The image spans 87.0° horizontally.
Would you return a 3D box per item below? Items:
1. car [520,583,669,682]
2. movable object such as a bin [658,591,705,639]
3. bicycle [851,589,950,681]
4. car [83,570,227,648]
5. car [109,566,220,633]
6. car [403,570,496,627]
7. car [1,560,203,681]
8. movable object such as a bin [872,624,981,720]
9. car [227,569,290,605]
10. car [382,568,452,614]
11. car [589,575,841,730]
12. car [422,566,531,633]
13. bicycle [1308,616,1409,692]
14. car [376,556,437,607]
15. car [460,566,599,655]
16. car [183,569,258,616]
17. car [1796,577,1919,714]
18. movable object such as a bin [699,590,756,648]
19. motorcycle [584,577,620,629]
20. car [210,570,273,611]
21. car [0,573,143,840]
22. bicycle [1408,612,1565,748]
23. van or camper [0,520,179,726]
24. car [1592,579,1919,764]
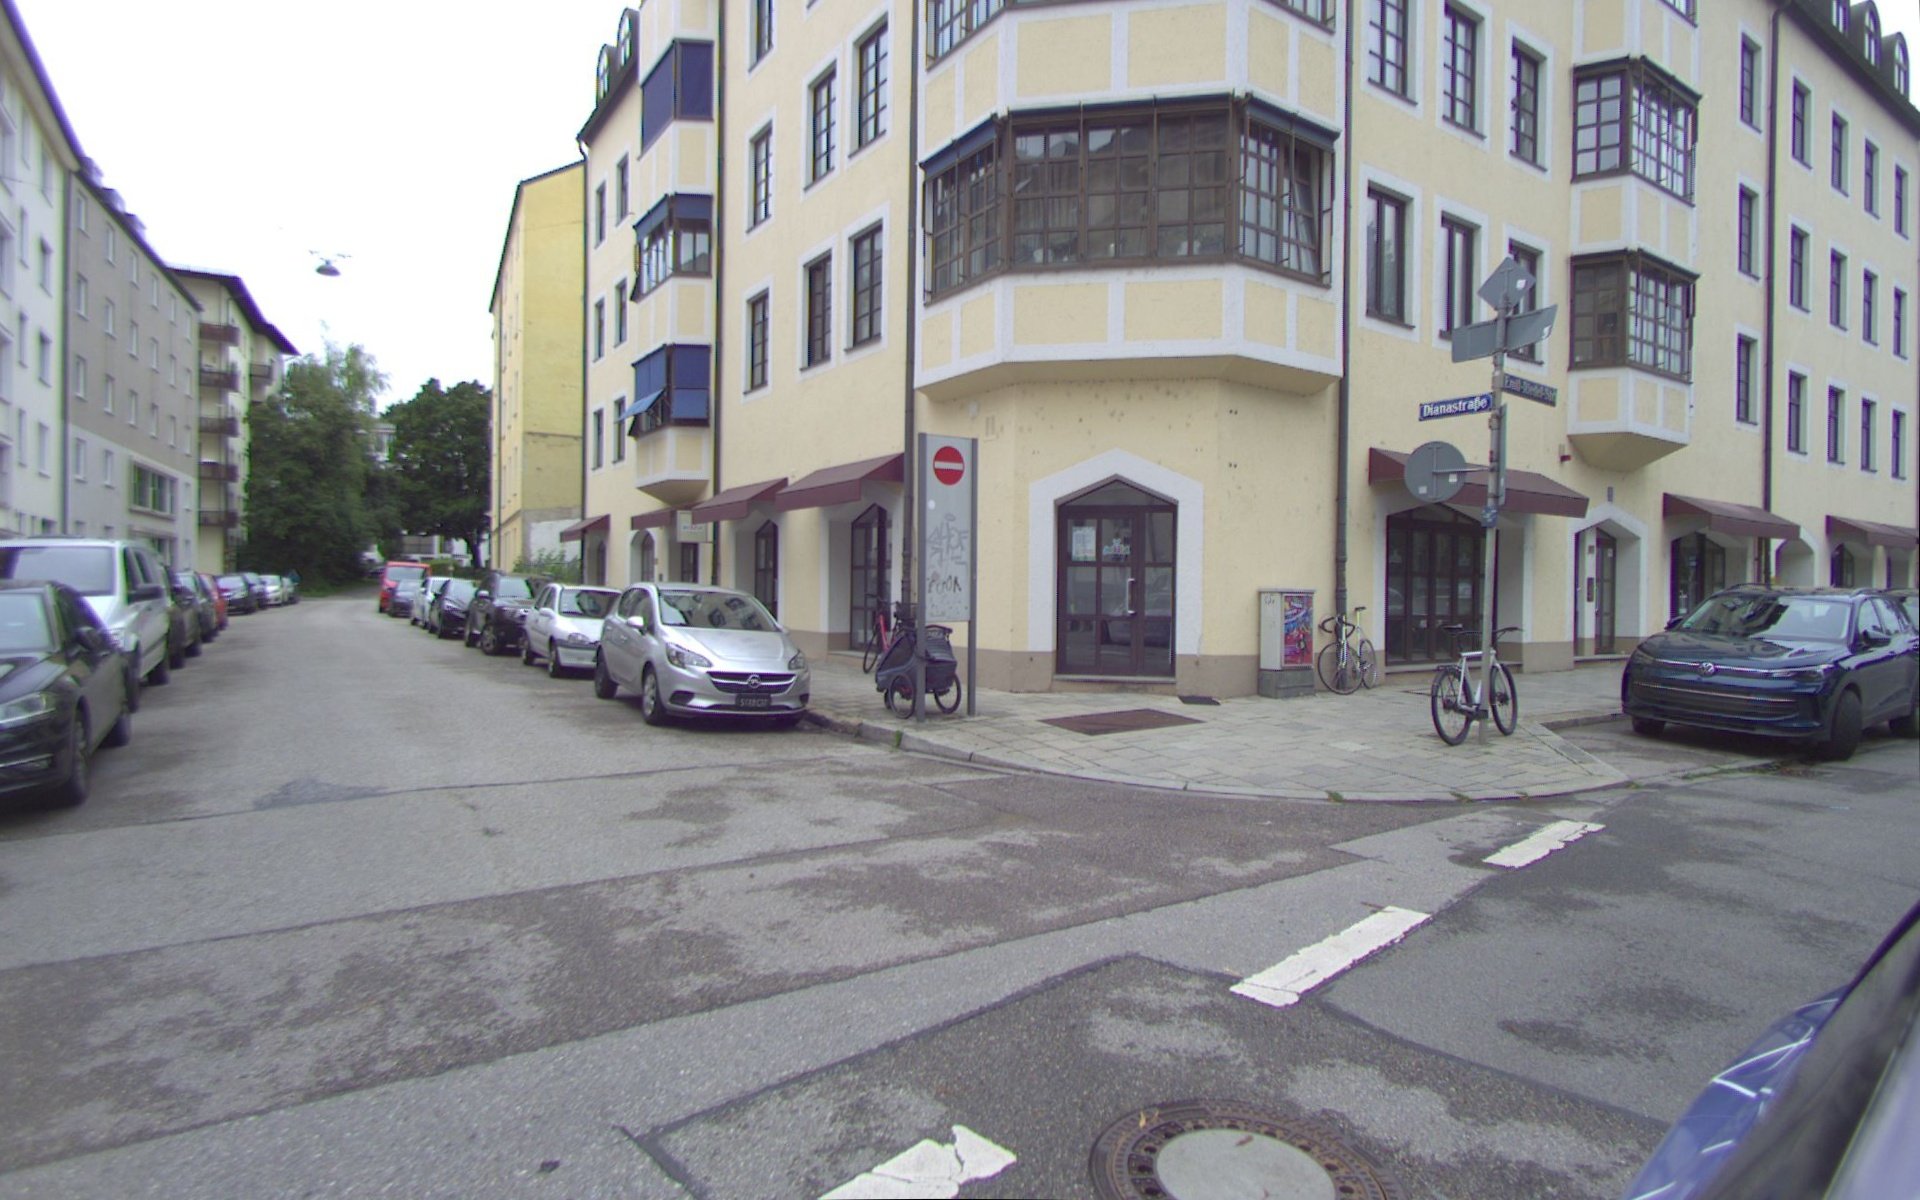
[{"bbox_3d":[-5.965,0.428,16.292,1.607,1.354,3.459,0,2,-31],"label":"car"},{"bbox_3d":[-6.208,0.314,22.522,0.671,1.026,1.127,0,1,-34],"label":"movable object such as a bin"},{"bbox_3d":[-0.886,0.461,14.481,0.505,1.201,1.907,0,1,-34],"label":"bicycle"},{"bbox_3d":[-17.577,0.160,22.321,1.939,1.522,4.673,0,0,-32],"label":"car"},{"bbox_3d":[-20.973,-0.093,26.852,1.940,1.587,4.672,0,2,-34],"label":"car"},{"bbox_3d":[-15.265,-0.076,30.146,1.940,1.588,4.432,0,1,-34],"label":"car"},{"bbox_3d":[-13.435,0.212,16.110,1.940,1.664,4.000,0,2,-33],"label":"car"},{"bbox_3d":[-0.378,0.742,10.868,0.671,0.911,1.127,0,1,-34],"label":"movable object such as a bin"},{"bbox_3d":[-32.461,-0.625,46.920,1.938,1.588,4.437,0,1,-29],"label":"car"},{"bbox_3d":[-20.142,-0.341,37.465,1.940,1.588,4.434,0,1,-33],"label":"car"},{"bbox_3d":[-2.963,0.497,11.627,1.716,1.458,3.750,3,0,-31],"label":"car"},{"bbox_3d":[-12.620,-0.044,26.281,1.940,1.588,4.432,0,1,-34],"label":"car"},{"bbox_3d":[5.273,0.692,13.351,1.662,0.912,0.263,-1,5,-33],"label":"bicycle"},{"bbox_3d":[-22.901,-0.752,41.793,2.024,2.003,4.435,0,1,-31],"label":"car"},{"bbox_3d":[-8.780,0.138,20.452,1.946,1.604,4.031,0,1,-32],"label":"car"},{"bbox_3d":[-27.549,-0.323,37.819,1.940,1.587,4.674,0,2,-32],"label":"car"},{"bbox_3d":[13.477,0.560,13.852,4.082,1.608,1.822,-1,5,-32],"label":"car"},{"bbox_3d":[-4.652,0.353,20.232,0.753,1.094,1.127,0,1,-34],"label":"movable object such as a bin"},{"bbox_3d":[-9.805,0.050,27.704,0.546,1.356,1.888,0,1,-32],"label":"motorcycle"},{"bbox_3d":[-30.164,-0.448,42.591,1.940,1.587,4.435,0,2,-32],"label":"car"},{"bbox_3d":[-7.019,0.569,6.959,1.856,1.506,3.886,0,1,-34],"label":"car"},{"bbox_3d":[5.157,0.727,9.857,2.014,1.173,0.431,-1,2,-34],"label":"bicycle"},{"bbox_3d":[-10.436,0.175,11.600,1.924,1.942,4.918,-2,2,-33],"label":"van or camper"},{"bbox_3d":[9.112,0.607,11.127,4.411,1.643,2.113,0,1,-35],"label":"car"}]
